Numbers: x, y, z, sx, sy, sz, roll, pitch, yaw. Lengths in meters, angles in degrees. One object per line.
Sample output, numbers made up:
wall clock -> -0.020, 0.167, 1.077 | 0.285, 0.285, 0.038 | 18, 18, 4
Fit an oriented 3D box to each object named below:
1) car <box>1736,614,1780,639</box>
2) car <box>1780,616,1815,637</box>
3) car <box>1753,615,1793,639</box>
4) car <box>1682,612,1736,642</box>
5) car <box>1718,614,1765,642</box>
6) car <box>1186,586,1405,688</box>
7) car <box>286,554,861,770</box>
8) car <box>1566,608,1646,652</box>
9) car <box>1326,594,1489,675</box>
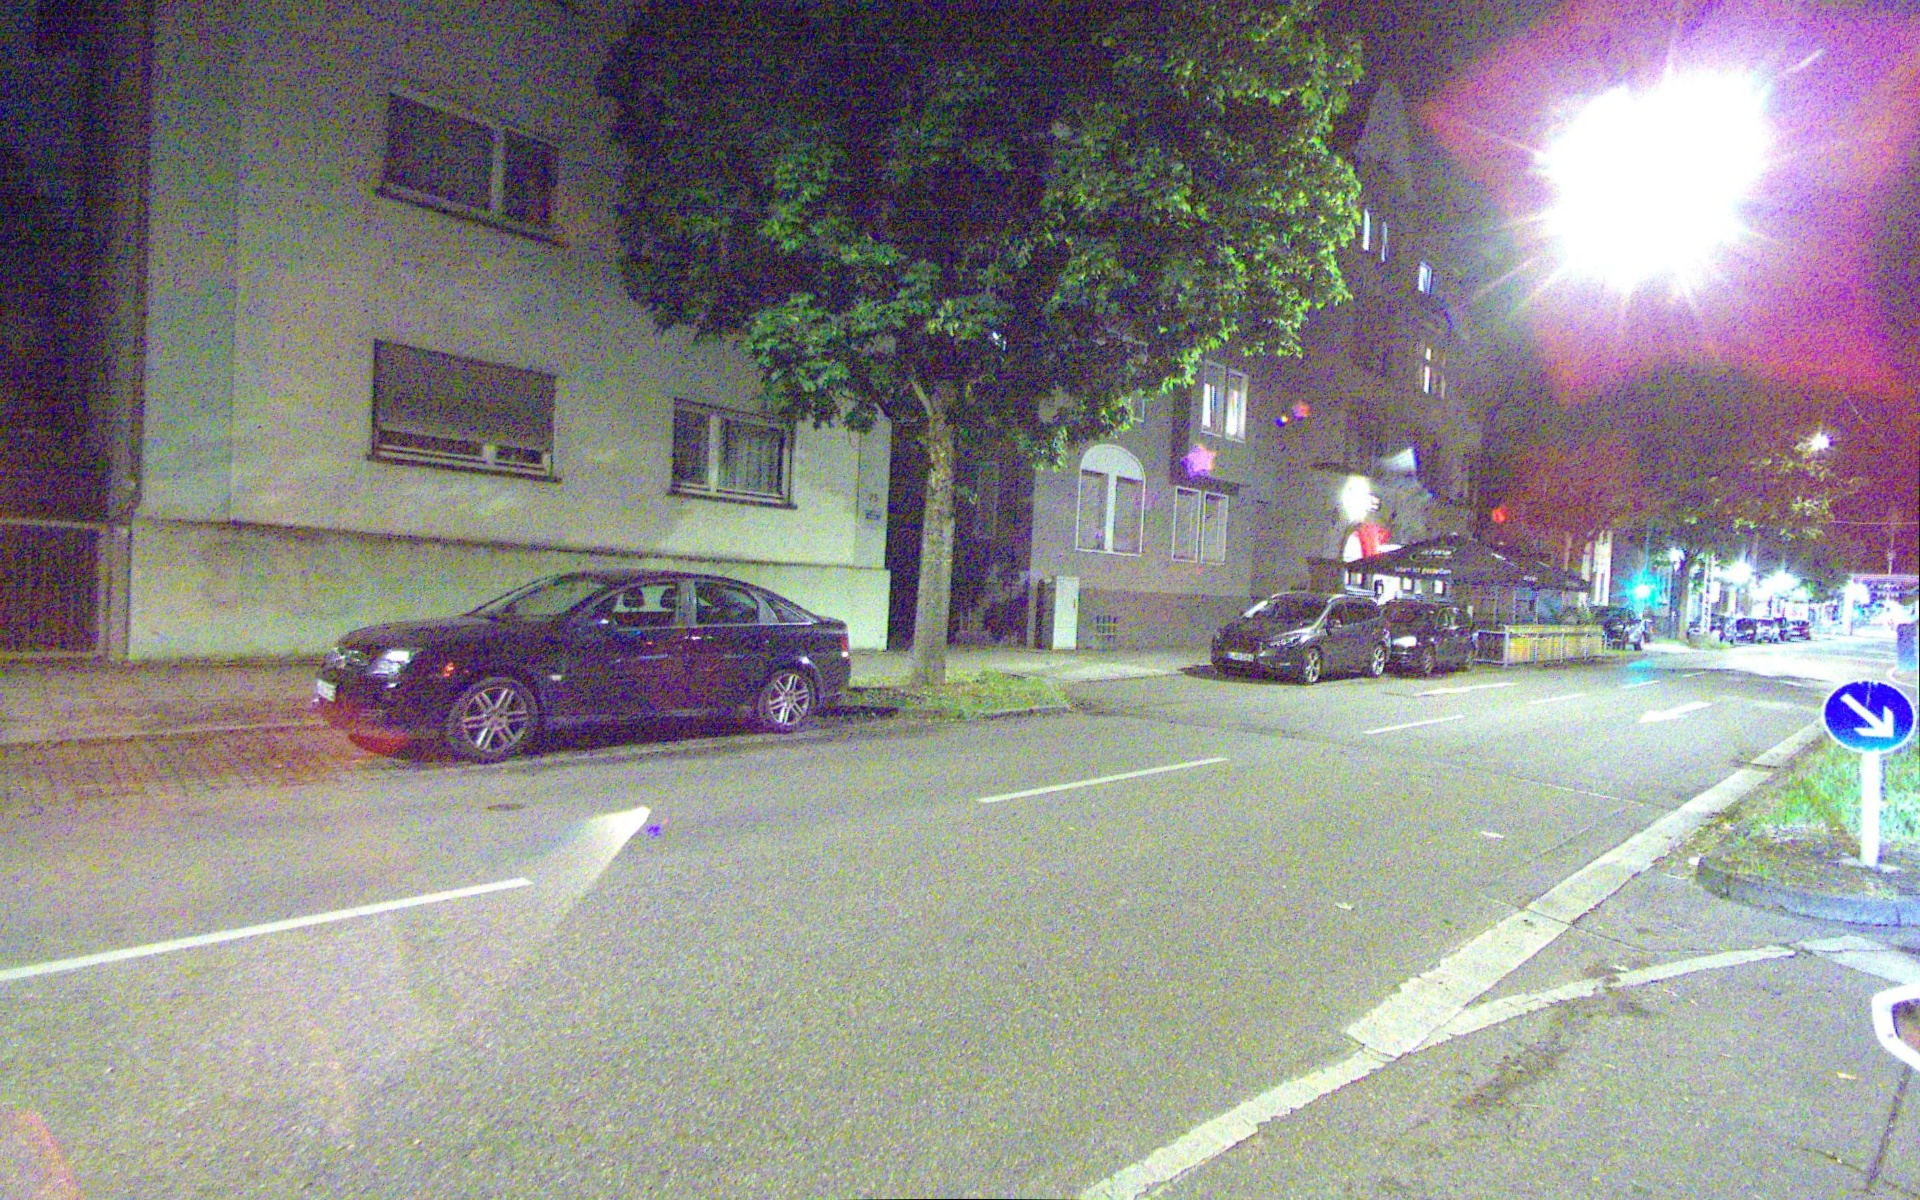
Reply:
car -> 49.238, 1.619, 61.954 | 1.634, 1.450, 3.975 | 3, 1, 45
car -> 63.597, 2.007, 76.260 | 1.634, 1.450, 3.975 | 3, 1, 45
car -> 53.946, 1.787, 66.614 | 1.634, 1.450, 3.975 | 3, 1, 45
car -> 38.818, 1.391, 52.031 | 1.634, 1.450, 3.975 | 3, 1, 45
car -> 44.832, 1.598, 57.610 | 1.634, 1.450, 3.975 | 3, 1, 45
car -> 6.124, 0.599, 18.073 | 4.423, 1.491, 1.880 | 1, 4, -45
car -> -3.061, 0.430, 8.765 | 1.604, 1.401, 4.428 | 3, 1, 42
car -> 23.739, 1.077, 36.856 | 1.634, 1.450, 3.975 | 3, 1, 45
car -> 9.719, 0.721, 21.642 | 1.785, 1.501, 4.297 | 4, 1, 44
